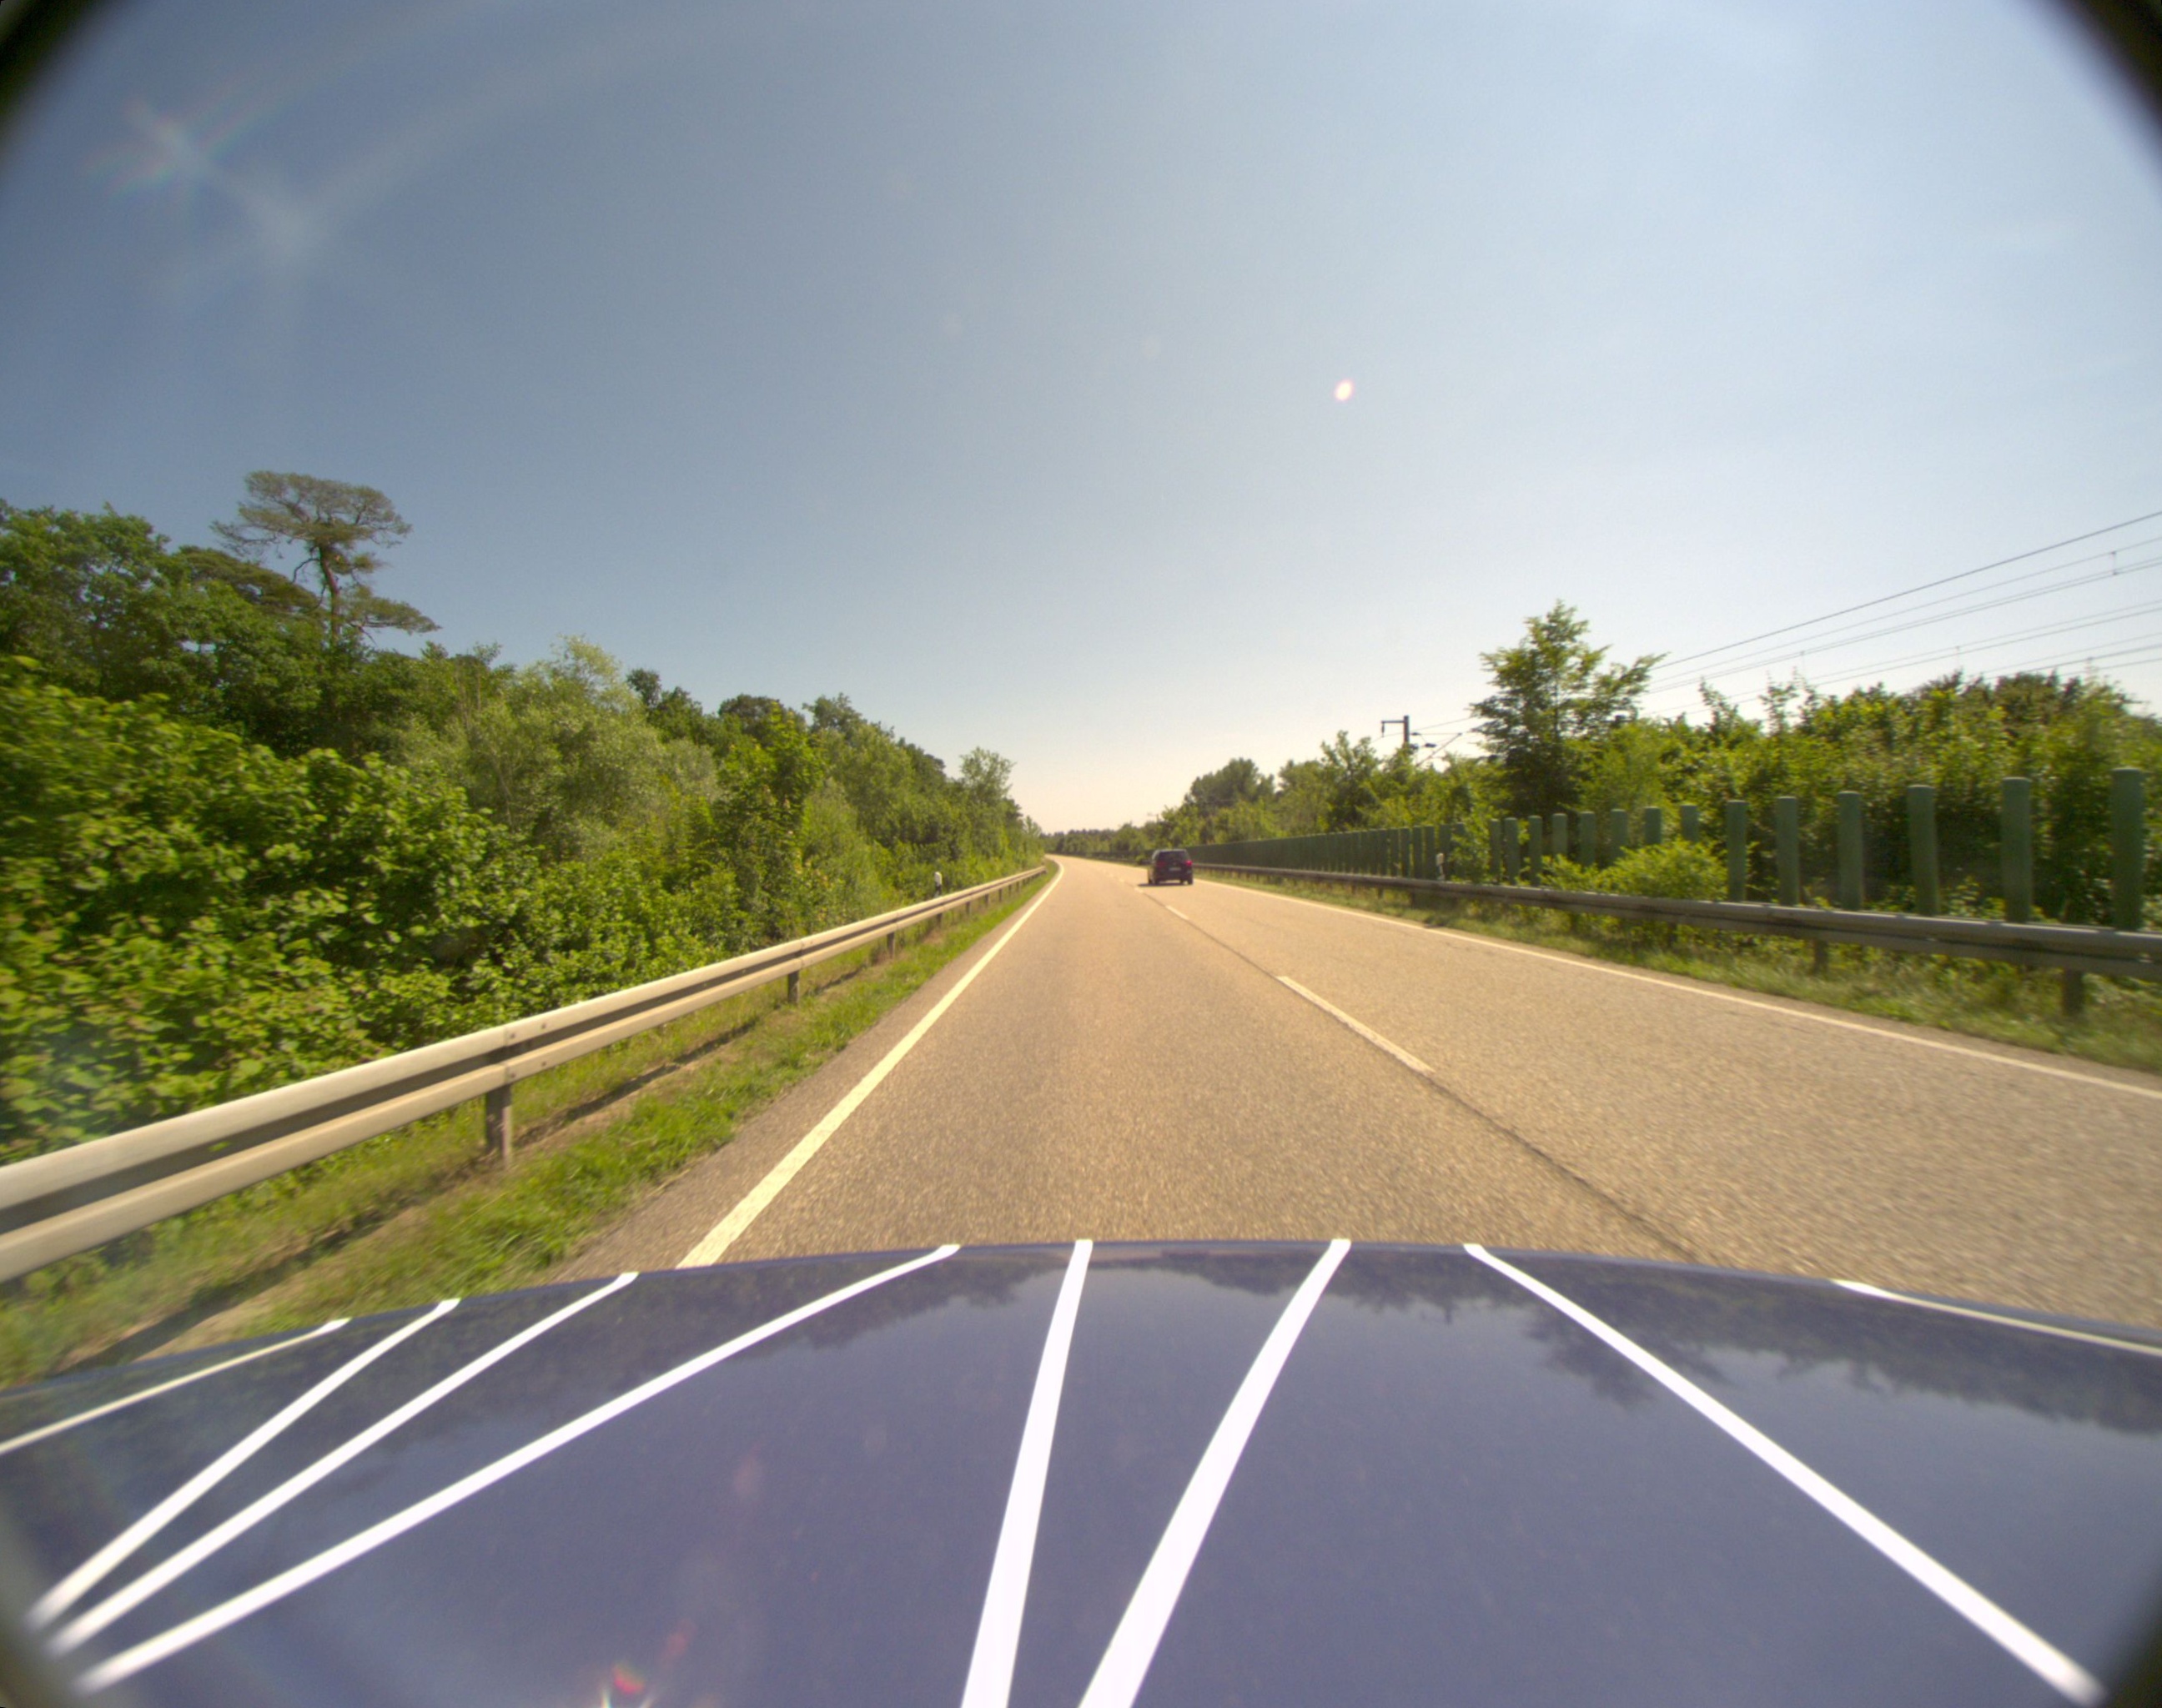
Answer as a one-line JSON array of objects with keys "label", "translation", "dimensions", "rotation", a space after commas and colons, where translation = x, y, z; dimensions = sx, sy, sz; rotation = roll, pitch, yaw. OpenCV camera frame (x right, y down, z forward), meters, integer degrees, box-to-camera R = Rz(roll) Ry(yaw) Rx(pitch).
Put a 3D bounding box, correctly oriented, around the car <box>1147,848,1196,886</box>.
[{"label": "car", "translation": [4.175, 0.569, 35.706], "dimensions": [1.768, 1.630, 4.126], "rotation": [-2, 0, 0]}]
